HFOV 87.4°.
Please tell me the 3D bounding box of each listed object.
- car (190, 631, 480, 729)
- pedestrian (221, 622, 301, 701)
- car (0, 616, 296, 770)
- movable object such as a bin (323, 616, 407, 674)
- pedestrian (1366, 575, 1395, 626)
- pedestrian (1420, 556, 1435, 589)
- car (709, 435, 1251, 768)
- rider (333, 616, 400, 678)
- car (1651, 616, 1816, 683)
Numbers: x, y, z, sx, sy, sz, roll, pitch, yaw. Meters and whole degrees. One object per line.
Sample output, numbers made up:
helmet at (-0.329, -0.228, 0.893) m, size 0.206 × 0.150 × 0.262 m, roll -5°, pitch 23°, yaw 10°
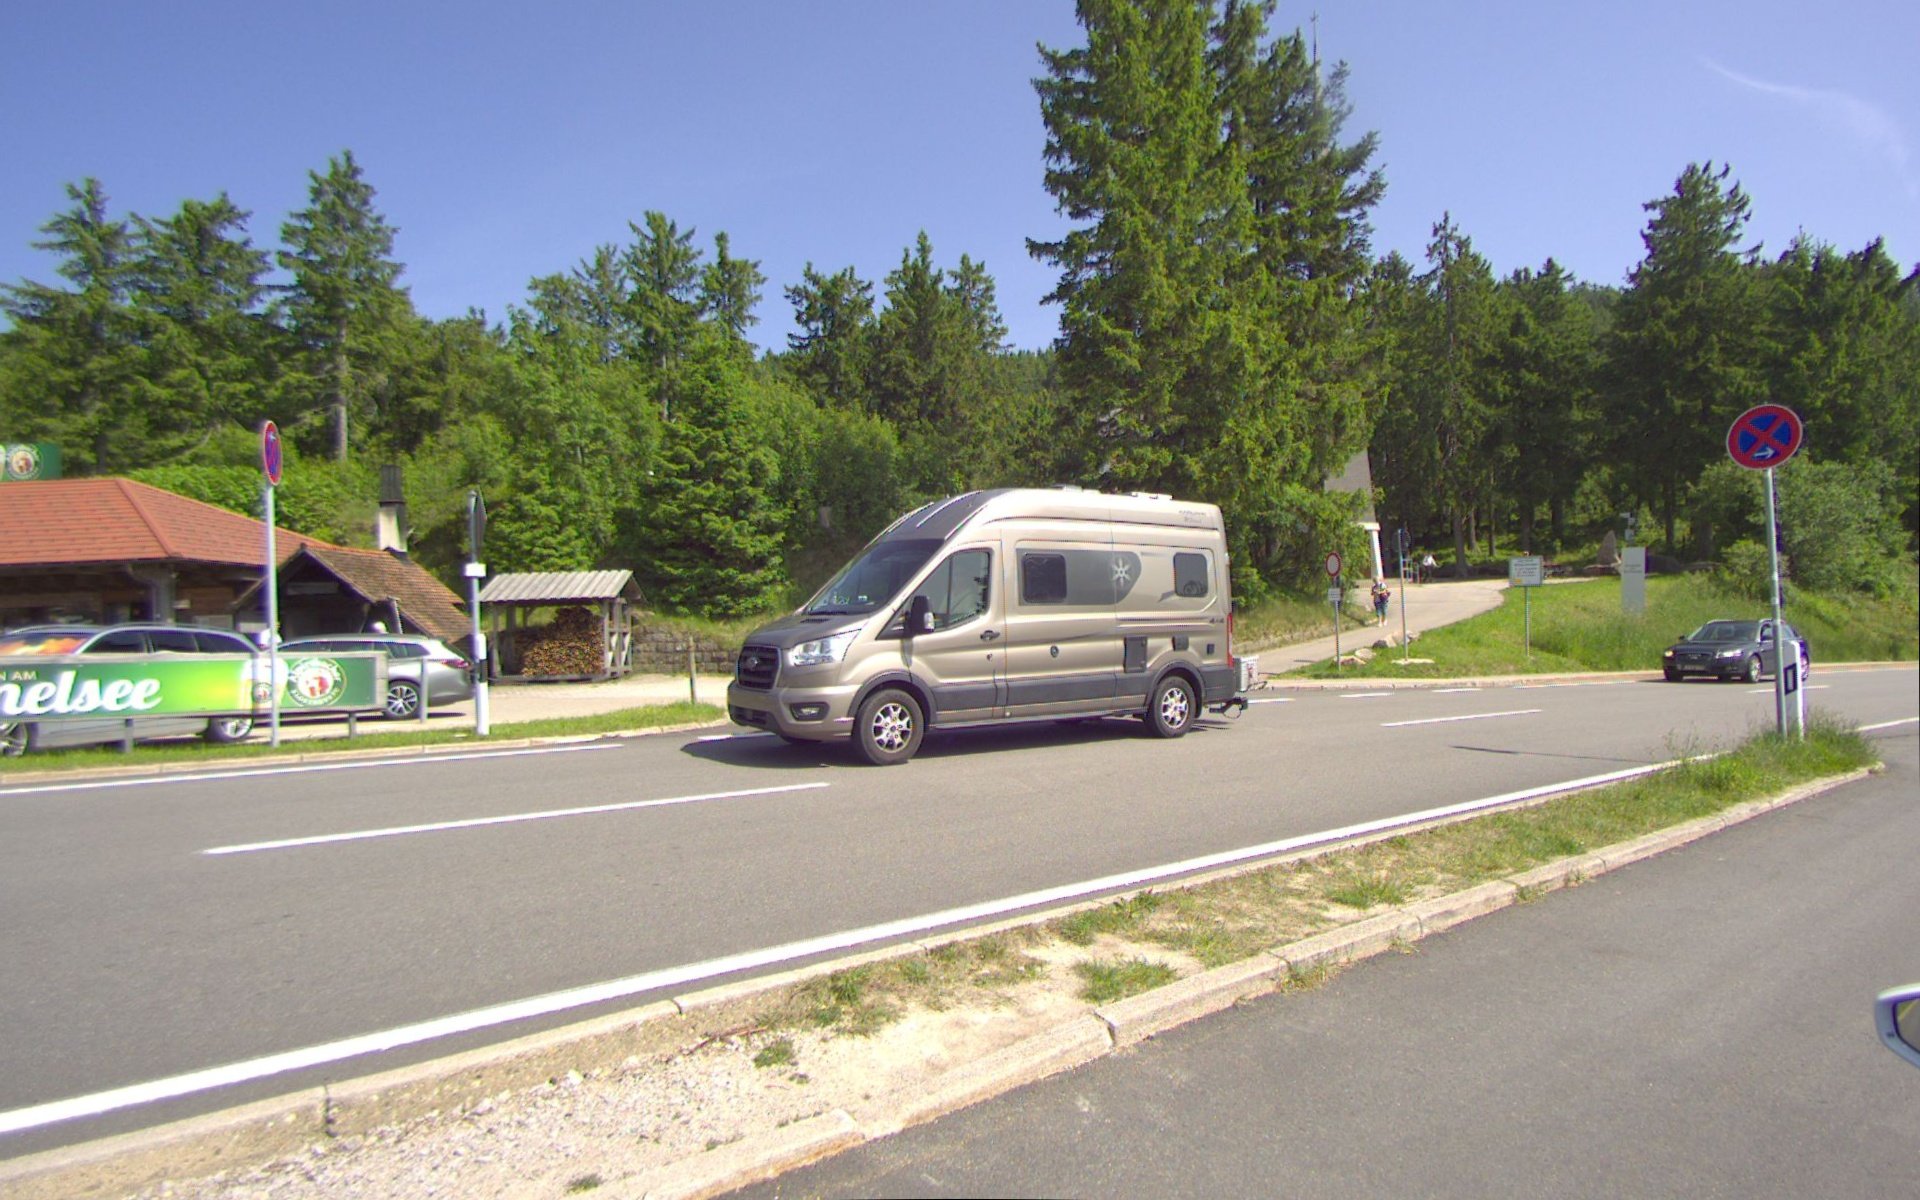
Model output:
car at (-10.314, 1.266, 16.901) m, size 3.951 × 1.449 × 1.709 m, roll 0°, pitch -2°, yaw -29°
pedestrian at (-15.589, 1.358, 22.424) m, size 1.141 × 1.721 × 0.977 m, roll 0°, pitch -2°, yaw -10°
car at (-9.751, 0.945, 11.022) m, size 1.687 × 1.449 × 4.506 m, roll -1°, pitch -2°, yaw 5°
movable object such as a bin at (-12.729, 0.957, 21.508) m, size 1.192 × 1.204 × 0.984 m, roll -1°, pitch -1°, yaw 14°
pedestrian at (14.238, 0.016, 34.020) m, size 0.711 × 1.703 × 0.680 m, roll -2°, pitch -2°, yaw 38°
pedestrian at (27.542, -1.594, 59.210) m, size 0.531 × 1.902 × 0.683 m, roll 0°, pitch -1°, yaw 0°
car at (0.440, 0.073, 10.921) m, size 5.858 × 2.787 × 1.998 m, roll 1°, pitch -2°, yaw -35°
rider at (-12.674, 0.998, 21.478) m, size 0.891 × 1.291 × 0.840 m, roll -1°, pitch -1°, yaw 14°
car at (18.206, 1.111, 23.588) m, size 4.402 × 1.457 × 1.696 m, roll 1°, pitch -2°, yaw -33°
